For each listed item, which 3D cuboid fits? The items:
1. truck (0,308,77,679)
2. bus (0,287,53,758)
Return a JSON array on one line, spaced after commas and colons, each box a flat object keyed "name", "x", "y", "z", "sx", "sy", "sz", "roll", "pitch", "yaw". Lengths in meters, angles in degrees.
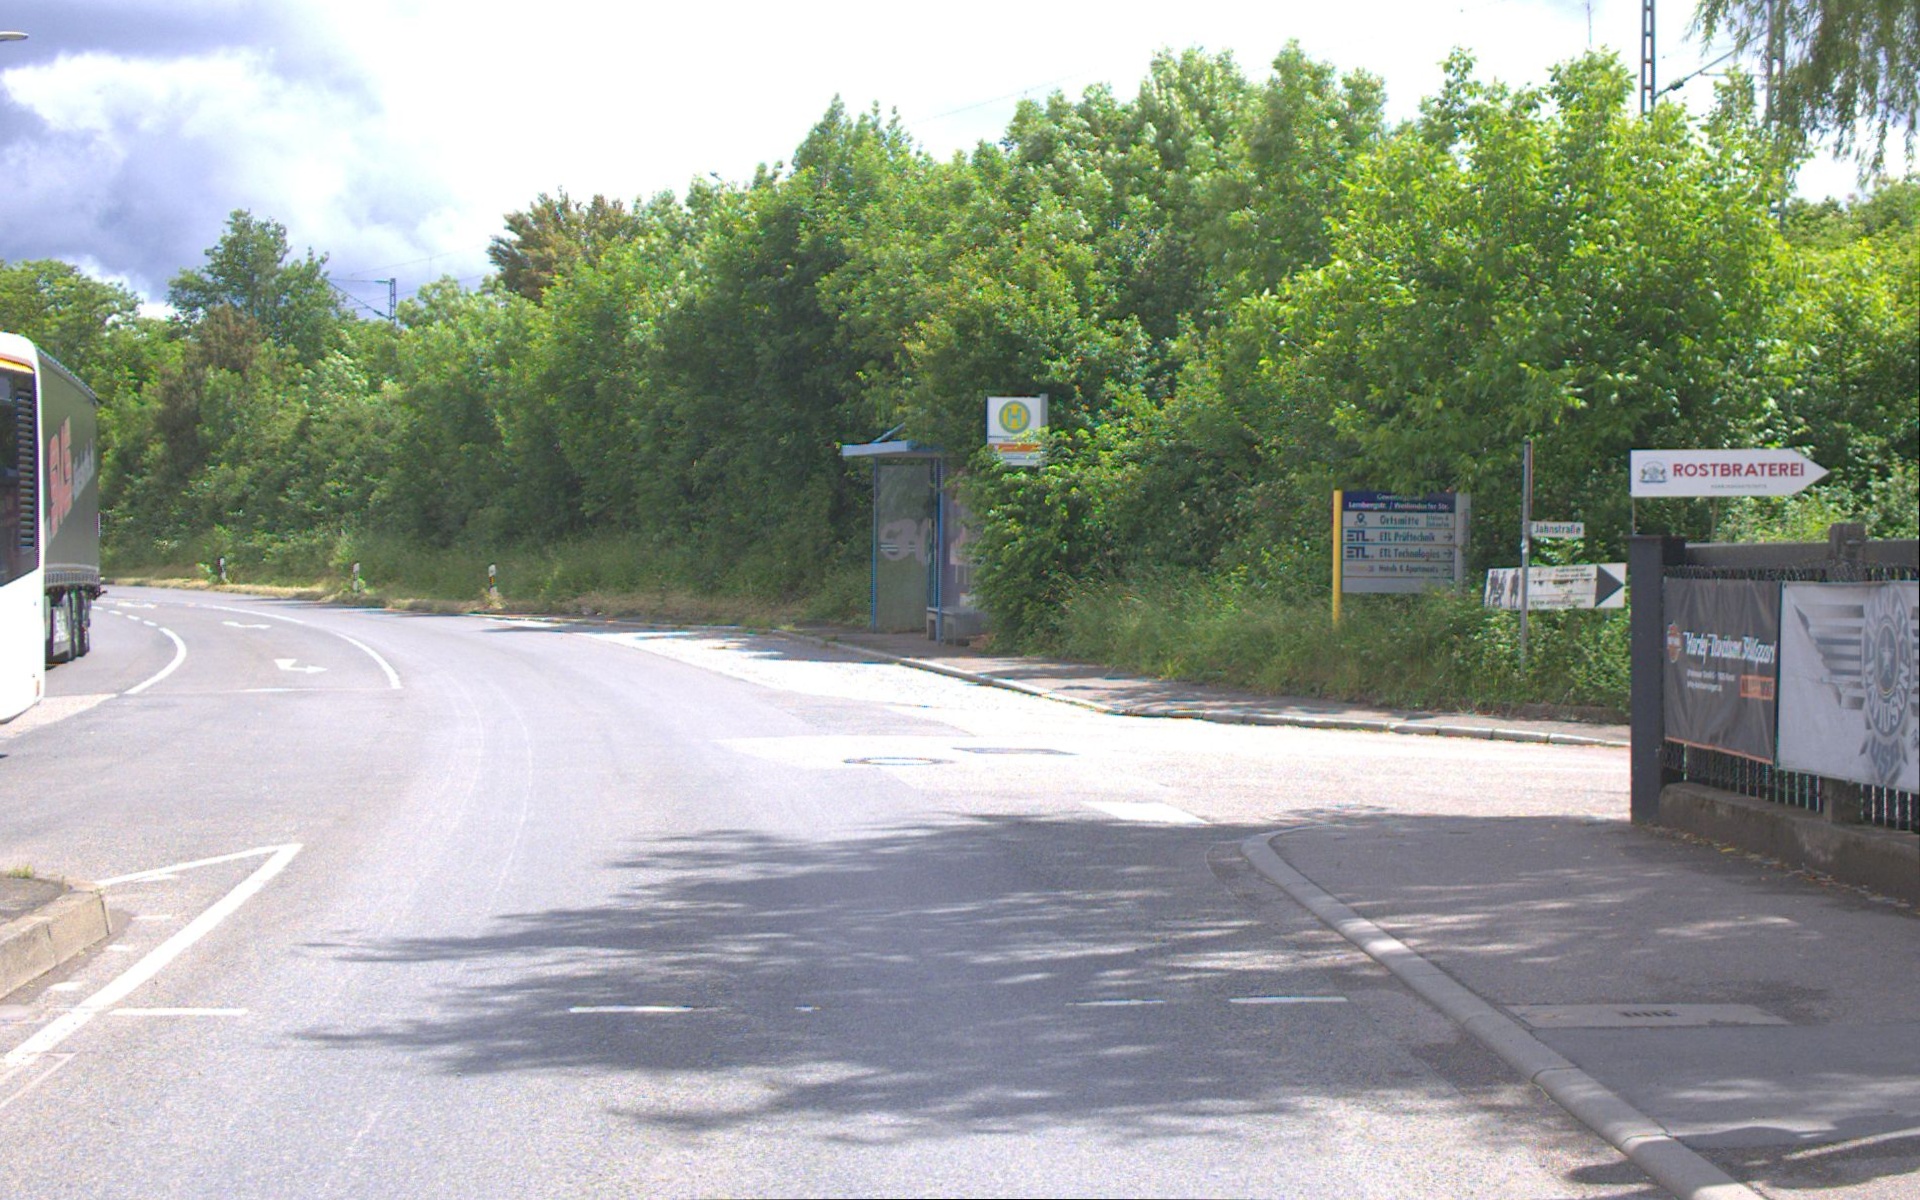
[{"name": "truck", "x": -12.186, "y": -1.233, "z": 40.182, "sx": 2.428, "sy": 4.117, "sz": 9.152, "roll": 2, "pitch": 0, "yaw": -8}, {"name": "bus", "x": -7.954, "y": -0.469, "z": 19.074, "sx": 2.777, "sy": 3.255, "sz": 12.124, "roll": 0, "pitch": 1, "yaw": -1}]
